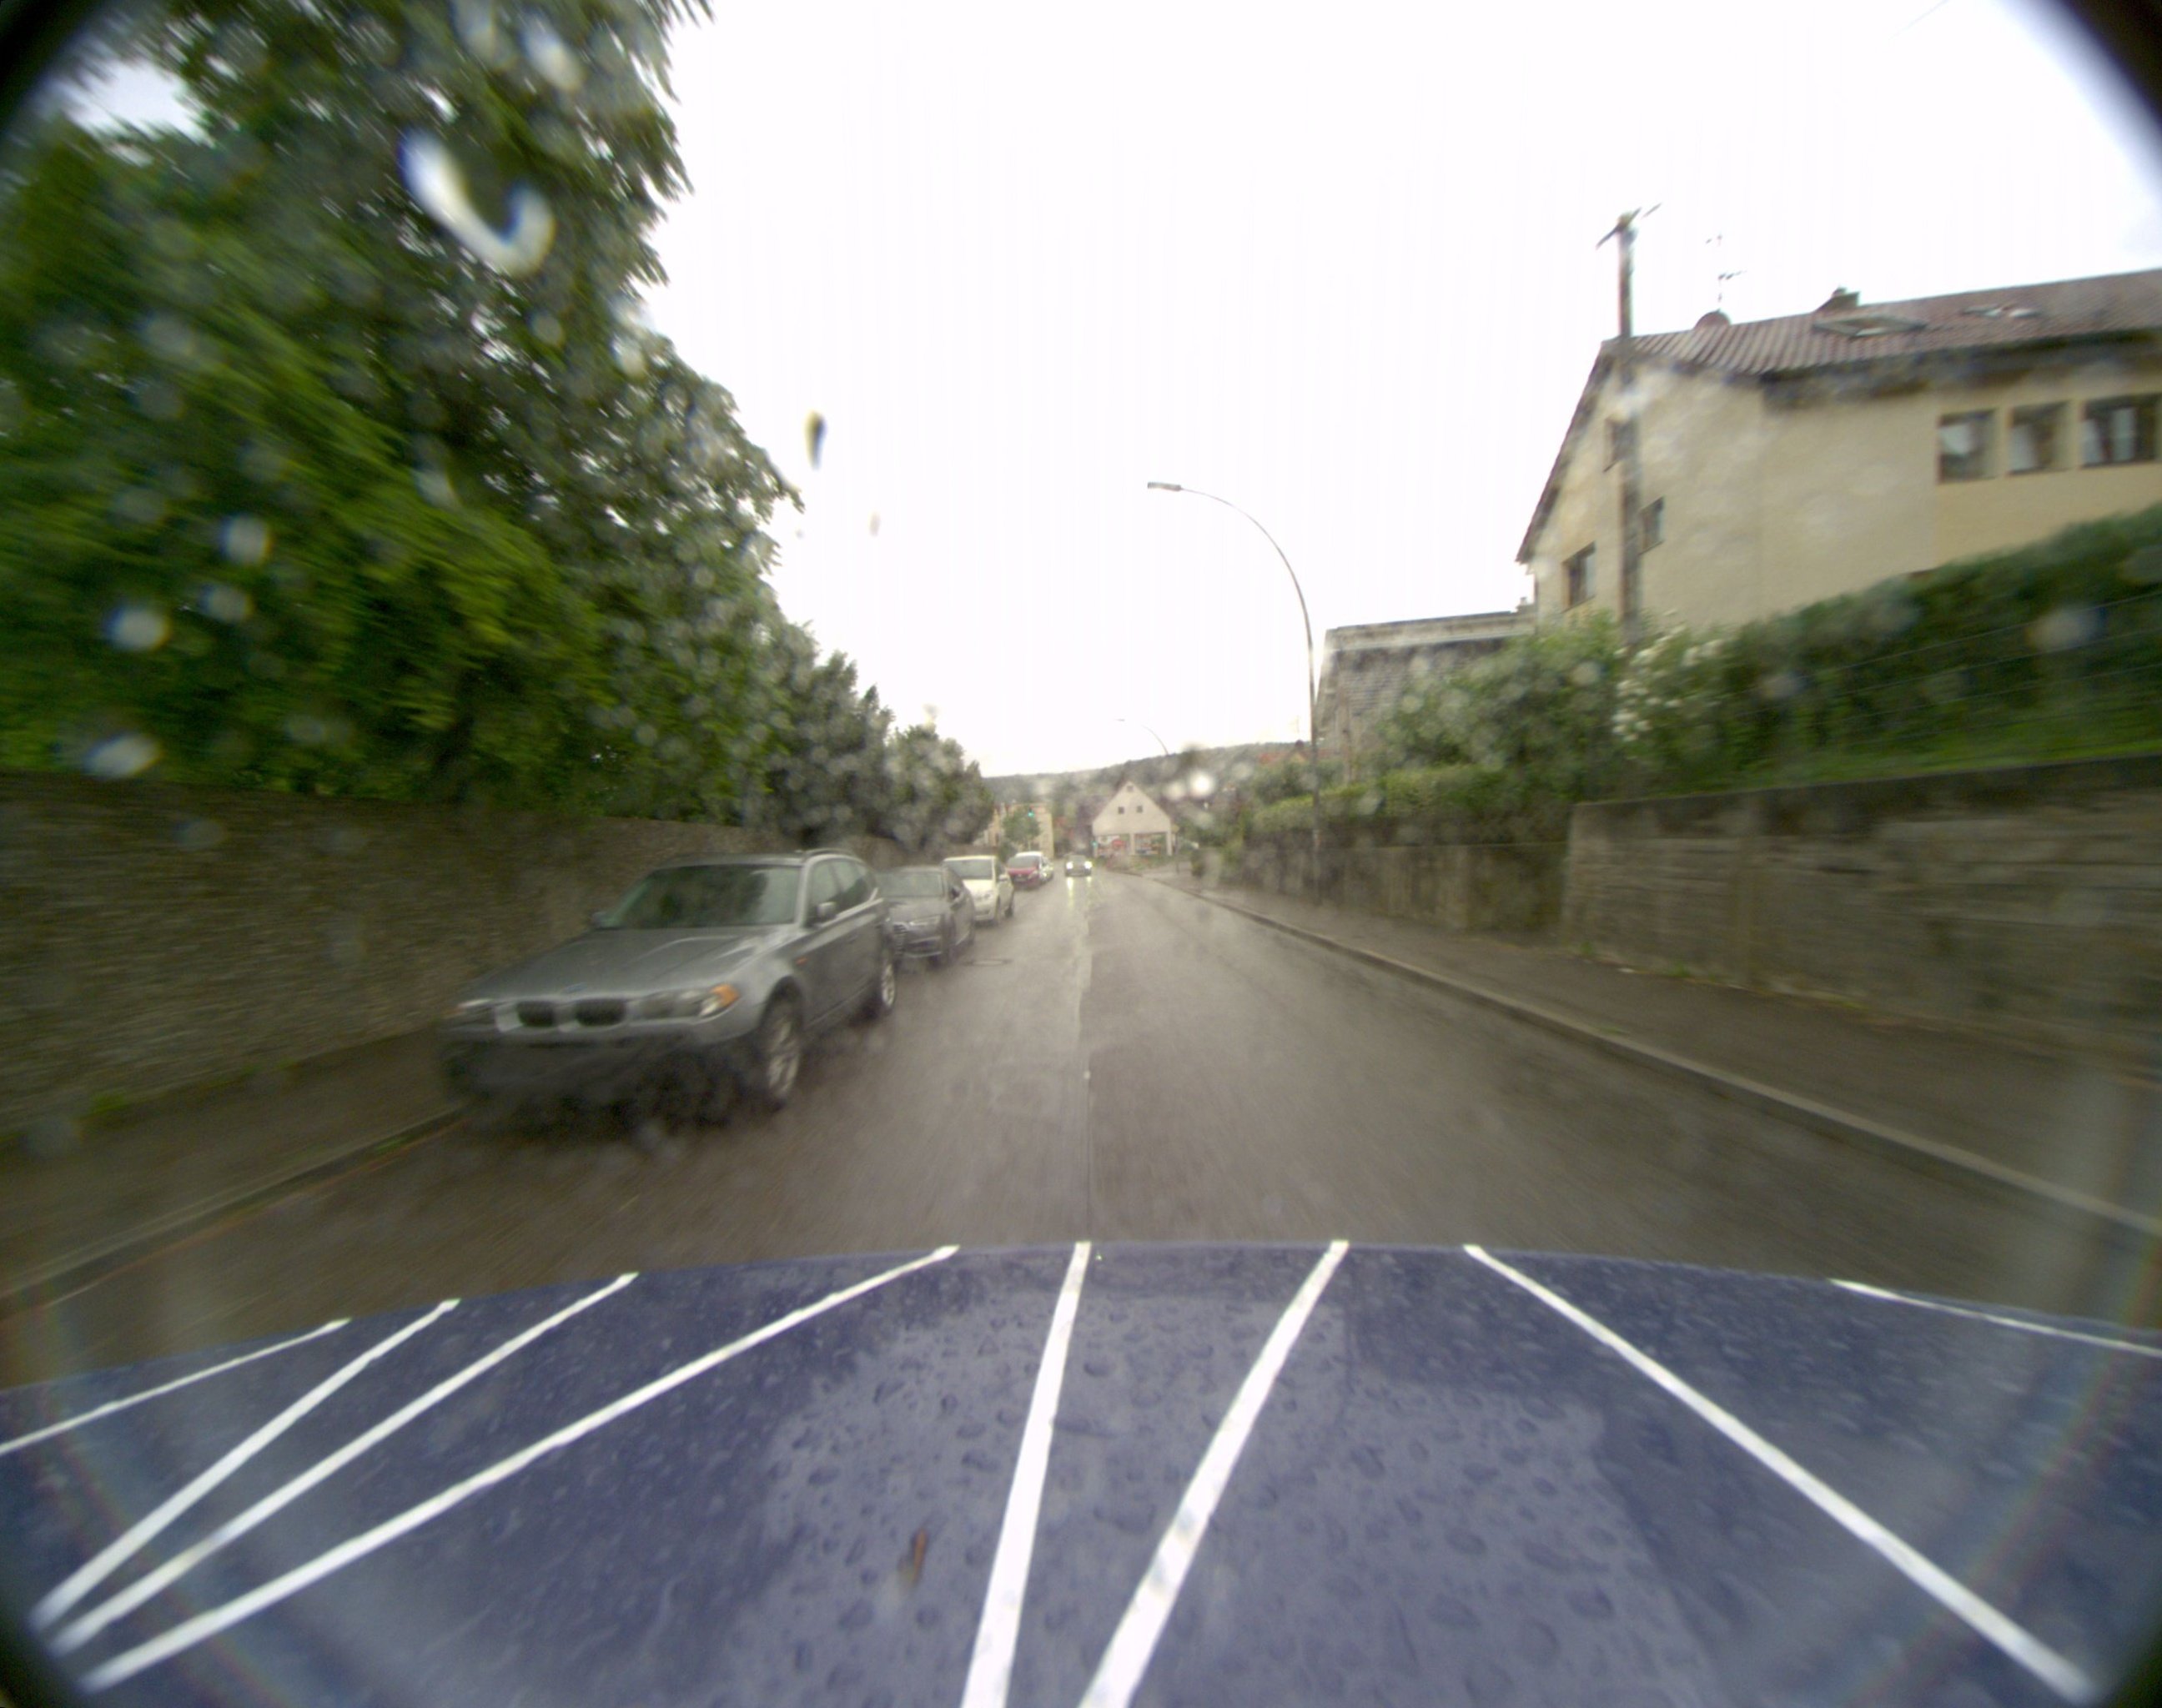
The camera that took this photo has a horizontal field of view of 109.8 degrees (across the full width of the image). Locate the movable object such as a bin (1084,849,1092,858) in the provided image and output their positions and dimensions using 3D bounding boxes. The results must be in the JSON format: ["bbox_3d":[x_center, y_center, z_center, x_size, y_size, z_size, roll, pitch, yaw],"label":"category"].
[{"bbox_3d":[0.896,-0.019,95.448,0.899,1.072,0.651,-4,2,1],"label":"movable object such as a bin"}]

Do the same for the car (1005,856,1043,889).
[{"bbox_3d":[-2.650,0.831,35.654,1.588,1.446,3.663,-1,0,-2],"label":"car"}]

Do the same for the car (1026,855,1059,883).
[{"bbox_3d":[-2.269,0.880,46.079,1.650,1.454,3.999,-3,2,1],"label":"car"}]

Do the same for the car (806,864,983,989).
[{"bbox_3d":[-2.760,0.983,12.362,1.769,1.439,4.695,-2,1,-2],"label":"car"}]

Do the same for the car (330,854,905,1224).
[{"bbox_3d":[-2.761,0.903,5.950,1.746,1.658,4.496,-2,1,-1],"label":"car"}]

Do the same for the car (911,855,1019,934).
[{"bbox_3d":[-2.663,0.877,18.339,1.819,1.564,3.880,-2,1,2],"label":"car"}]

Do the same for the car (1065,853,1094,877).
[{"bbox_3d":[-0.156,0.780,56.872,1.999,1.521,3.998,-3,1,-2],"label":"car"}]

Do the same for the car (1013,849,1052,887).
[{"bbox_3d":[-2.509,0.679,40.404,1.641,1.731,4.134,-3,2,1],"label":"car"}]

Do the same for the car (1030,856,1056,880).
[{"bbox_3d":[-2.541,0.898,51.600,1.616,1.472,4.037,-3,1,-1],"label":"car"}]
